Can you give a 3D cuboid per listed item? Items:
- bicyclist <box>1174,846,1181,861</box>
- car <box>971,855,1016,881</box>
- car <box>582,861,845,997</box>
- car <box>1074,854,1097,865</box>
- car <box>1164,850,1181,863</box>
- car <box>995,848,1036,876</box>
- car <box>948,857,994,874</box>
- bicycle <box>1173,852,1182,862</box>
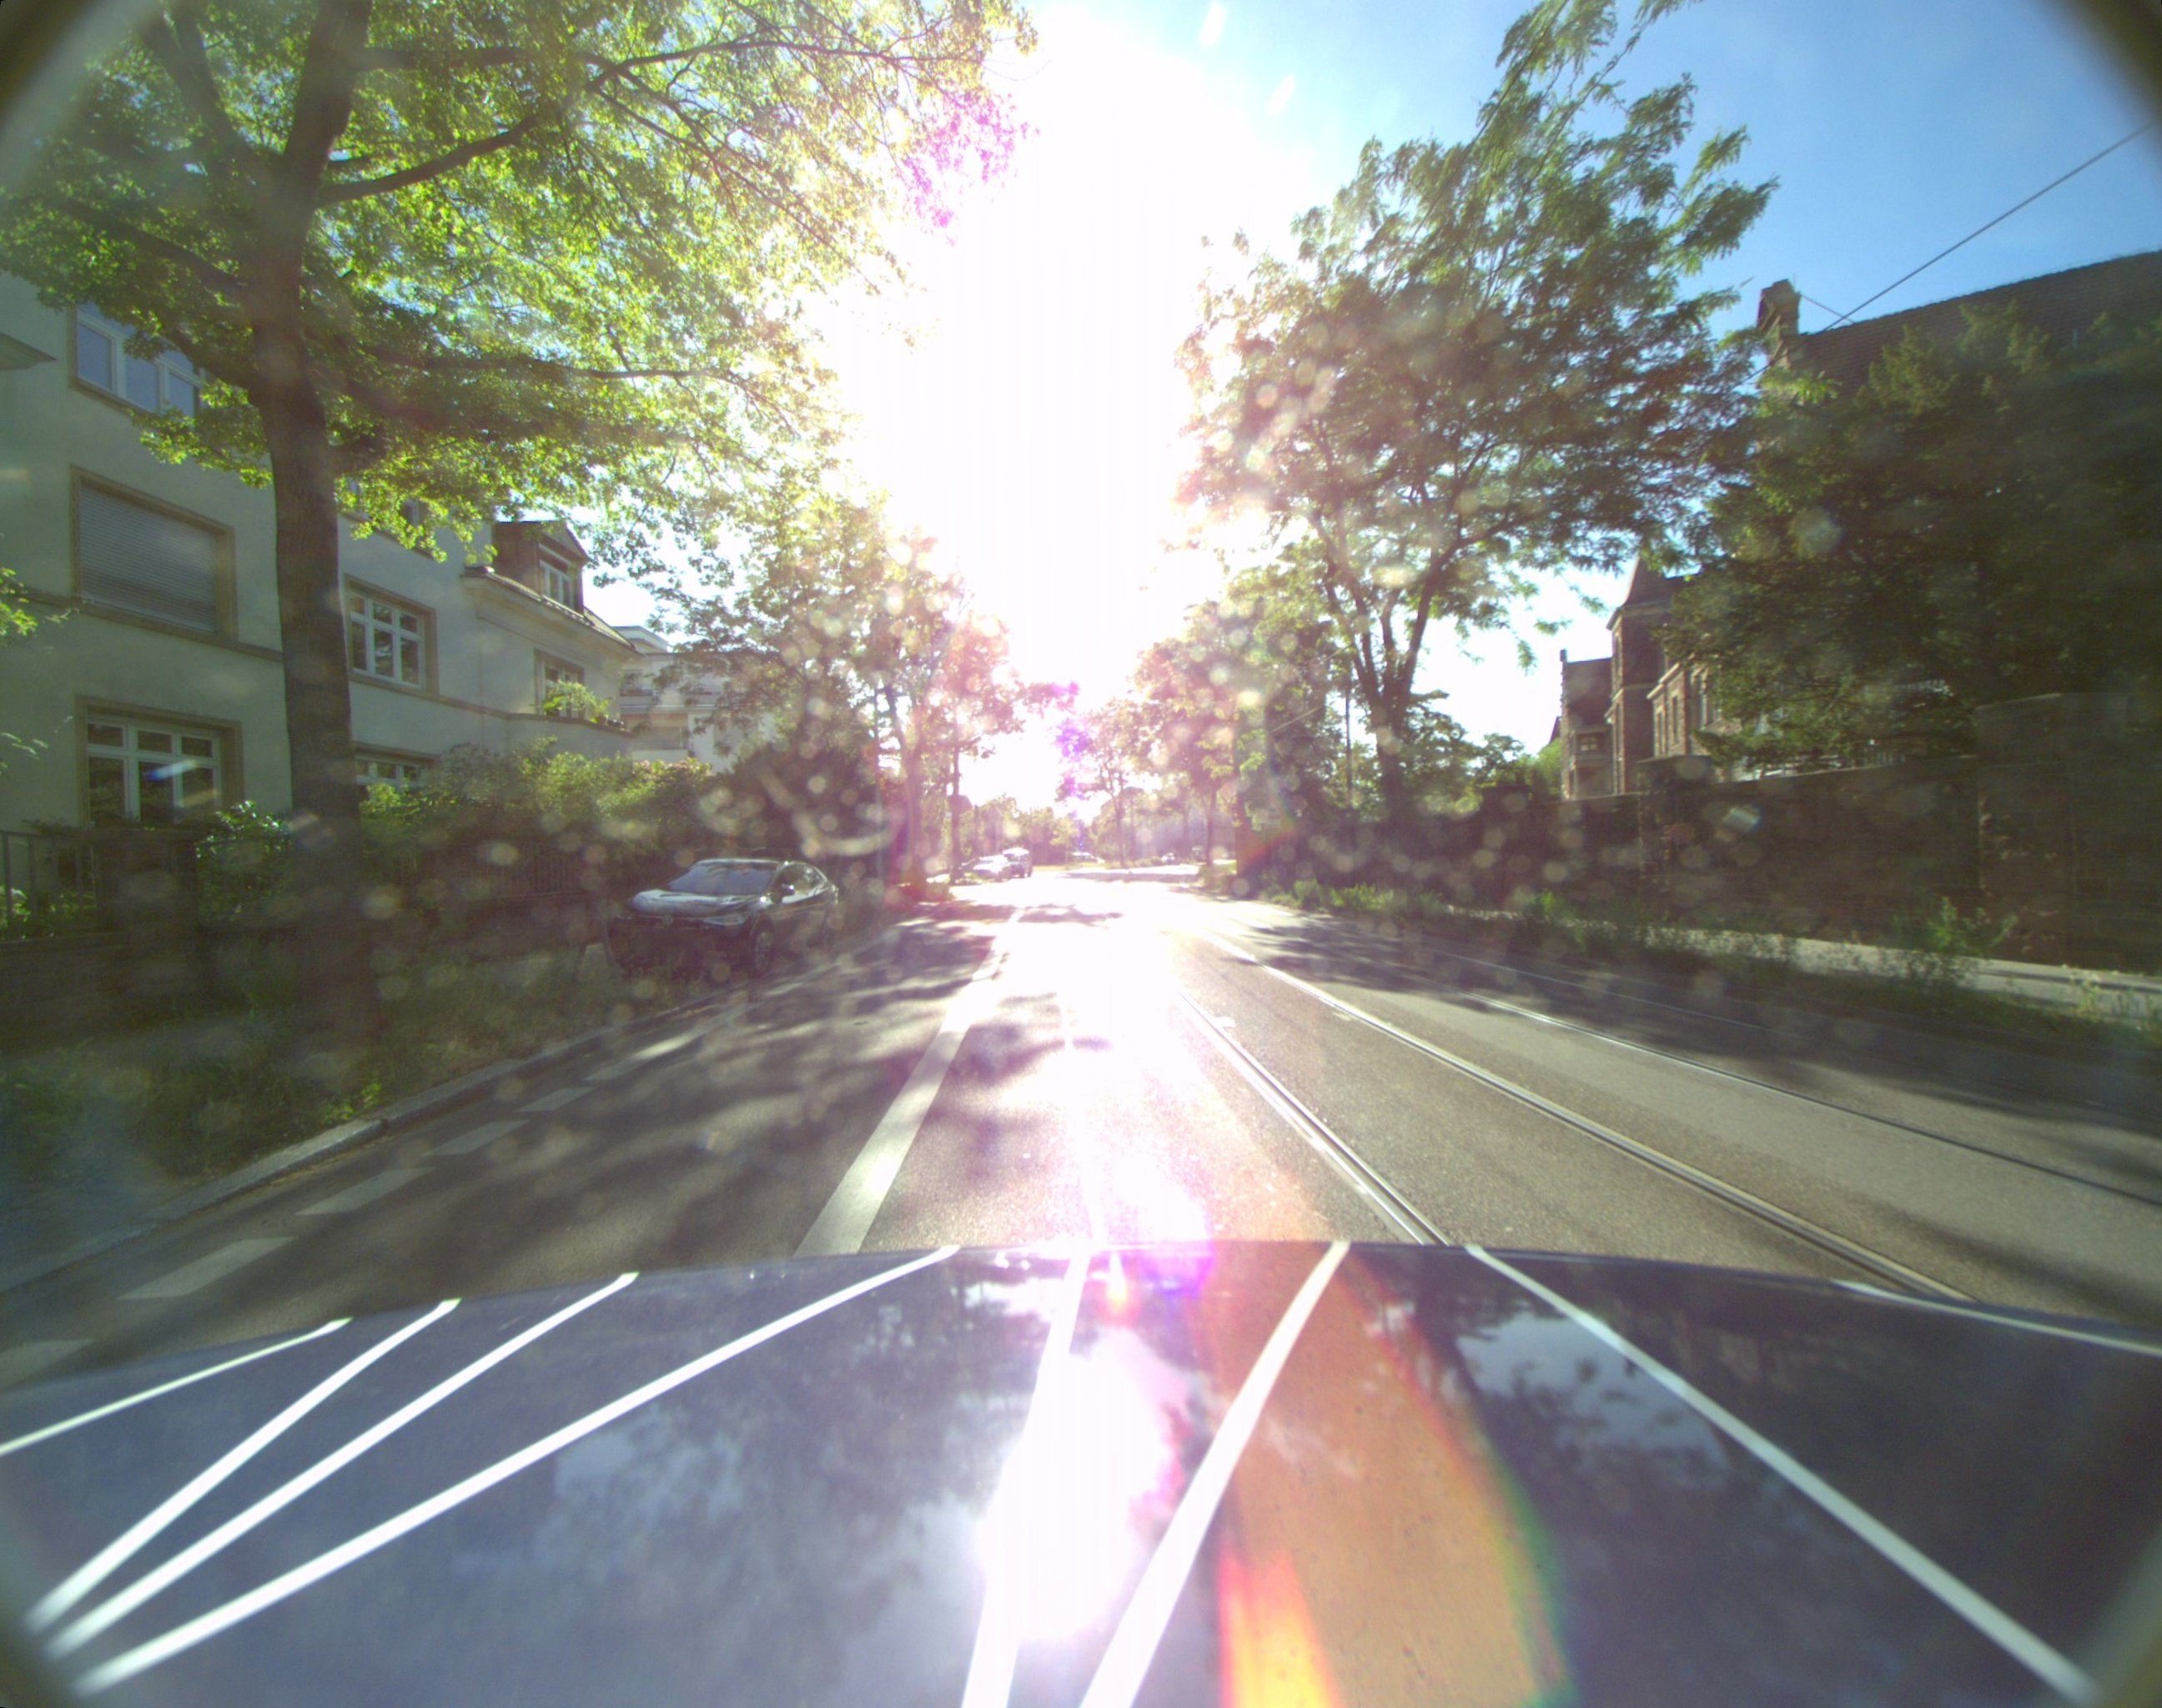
[{"bbox_3d":[10.942,-0.035,86.304,0.643,1.632,0.666,-2,1,19],"label":"bicyclist"},{"bbox_3d":[-5.164,0.795,45.339,1.901,1.402,4.260,-1,0,4],"label":"car"},{"bbox_3d":[-5.197,0.946,11.513,1.919,1.590,4.258,2,0,-1],"label":"car"},{"bbox_3d":[0.752,0.924,128.795,3.908,1.683,1.905,-1,0,-1],"label":"car"},{"bbox_3d":[11.915,0.320,98.727,1.997,1.539,4.002,-2,0,8],"label":"car"},{"bbox_3d":[-4.402,0.507,51.695,1.900,1.775,4.670,-1,0,6],"label":"car"},{"bbox_3d":[-10.042,1.048,69.544,3.998,1.433,1.813,-2,0,-3],"label":"car"},{"bbox_3d":[10.938,0.377,86.269,0.588,1.105,1.857,-1,0,19],"label":"bicycle"}]
